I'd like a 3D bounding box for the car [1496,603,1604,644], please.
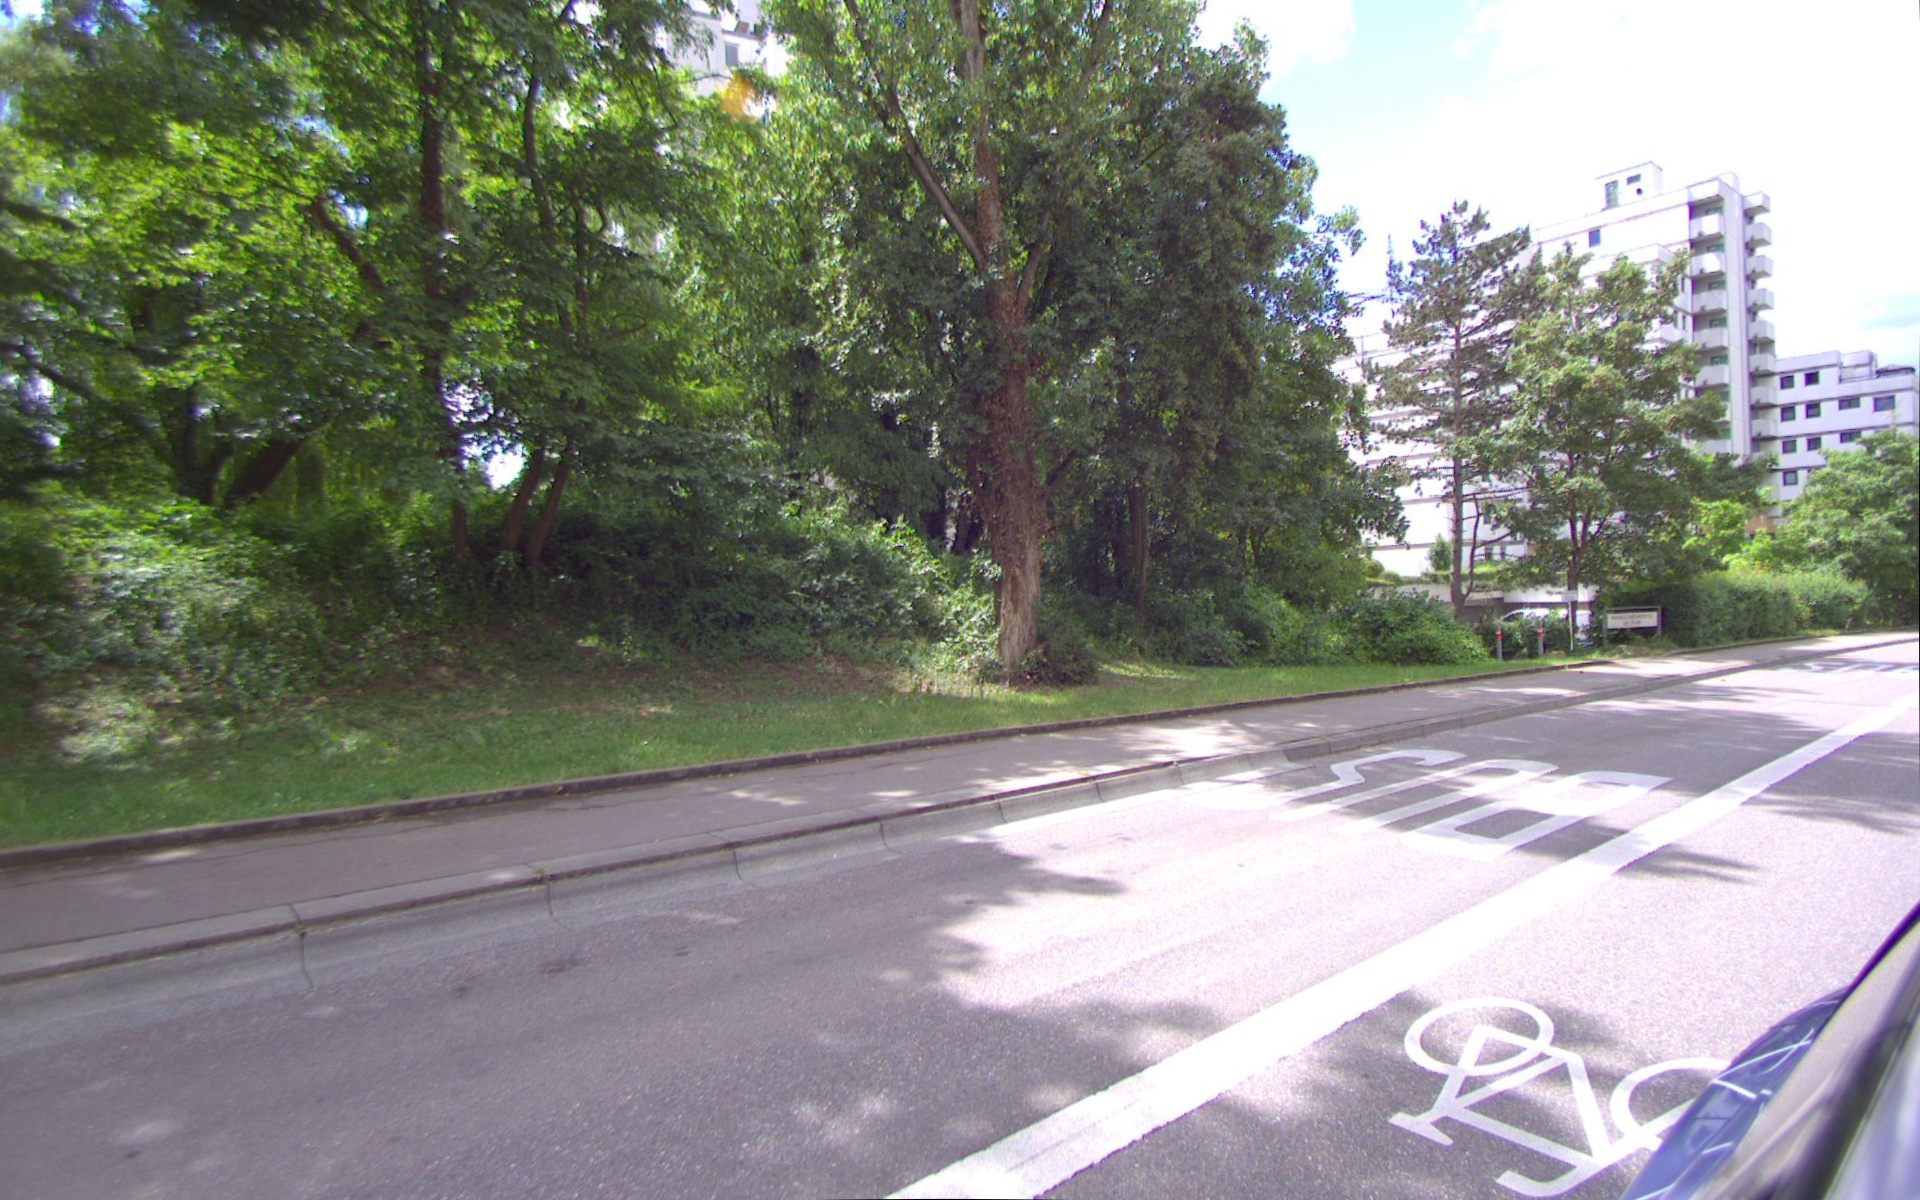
[{"bbox_3d":[31.310,1.209,53.818,1.962,2.039,4.549,-1,0,-34],"label":"car"}]
